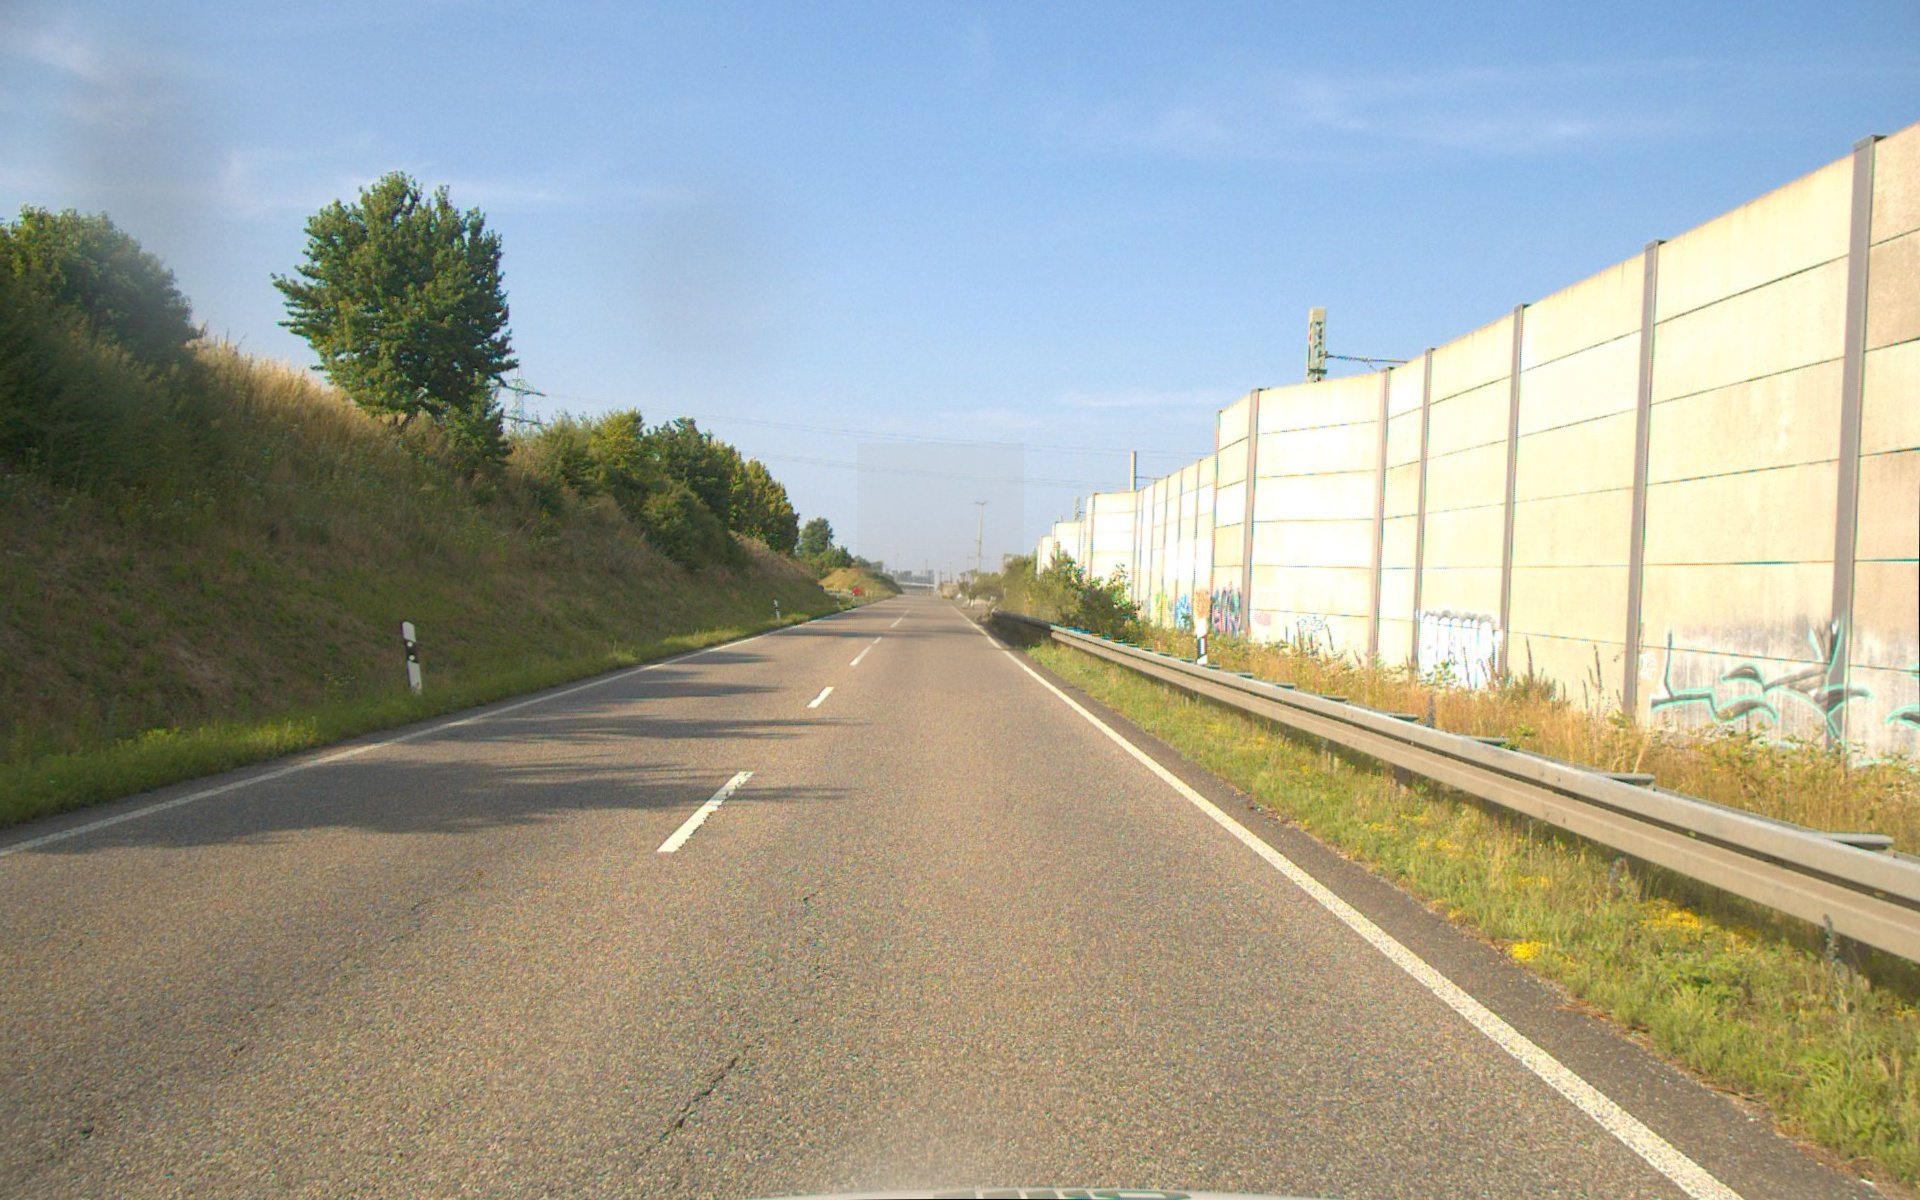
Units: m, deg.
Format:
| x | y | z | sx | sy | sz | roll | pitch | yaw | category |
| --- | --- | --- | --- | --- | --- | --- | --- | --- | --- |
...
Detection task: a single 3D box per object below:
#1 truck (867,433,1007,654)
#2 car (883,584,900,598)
| x | y | z | sx | sy | sz | roll | pitch | yaw | category |
| --- | --- | --- | --- | --- | --- | --- | --- | --- | --- |
| -0.845 | -1.433 | 45.184 | 3.225 | 5.178 | 12.031 | 1 | 1 | -3 | truck |
| -8.345 | -1.076 | 202.350 | 2.005 | 1.609 | 4.359 | 1 | 0 | -1 | car |
